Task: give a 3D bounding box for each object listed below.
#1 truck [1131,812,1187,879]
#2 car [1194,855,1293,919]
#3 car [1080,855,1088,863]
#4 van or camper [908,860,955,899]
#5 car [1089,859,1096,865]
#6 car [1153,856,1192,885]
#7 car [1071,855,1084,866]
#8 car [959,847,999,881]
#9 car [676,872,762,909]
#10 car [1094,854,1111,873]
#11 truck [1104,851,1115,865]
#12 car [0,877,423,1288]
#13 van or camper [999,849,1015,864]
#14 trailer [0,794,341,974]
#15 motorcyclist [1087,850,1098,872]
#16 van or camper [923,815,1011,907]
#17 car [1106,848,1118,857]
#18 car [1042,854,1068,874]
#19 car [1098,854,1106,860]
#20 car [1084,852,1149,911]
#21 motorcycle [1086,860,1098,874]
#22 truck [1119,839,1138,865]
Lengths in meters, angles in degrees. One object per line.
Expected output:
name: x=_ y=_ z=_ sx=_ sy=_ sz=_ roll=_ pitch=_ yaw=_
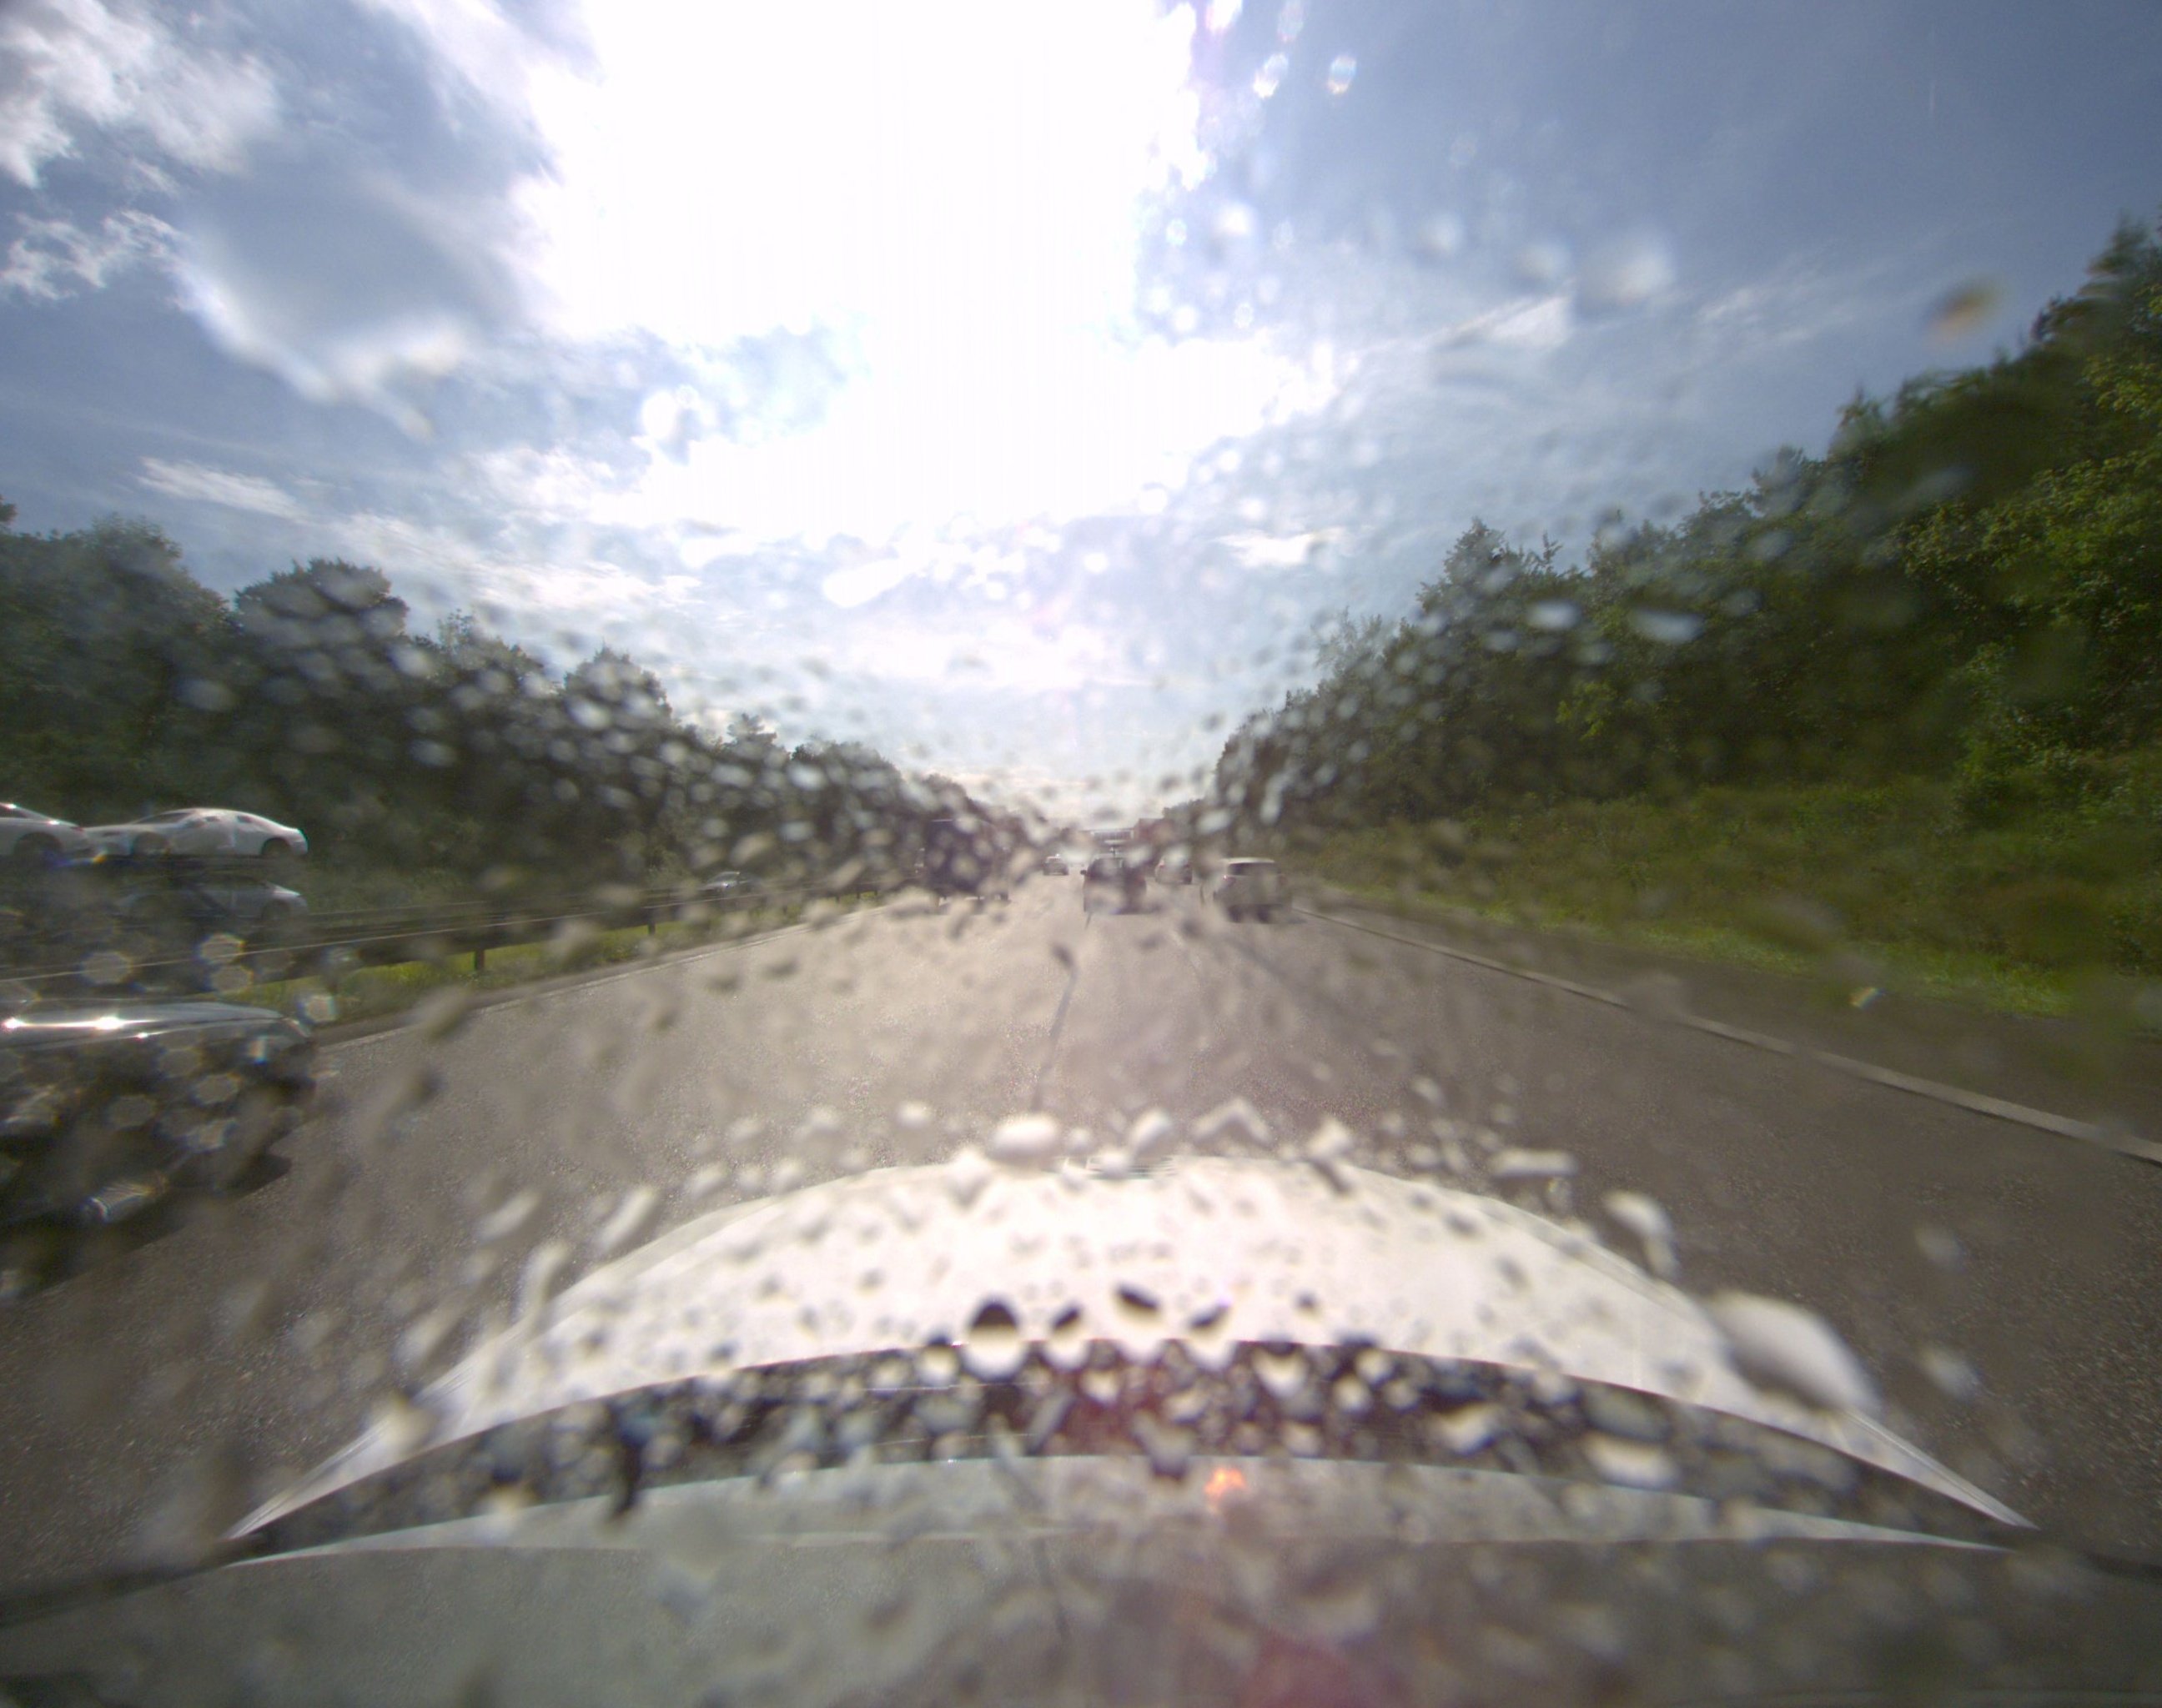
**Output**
truck: x=6.095 y=-0.556 z=66.648 sx=3.635 sy=4.720 sz=16.789 roll=0 pitch=0 yaw=3
car: x=3.951 y=0.767 z=20.436 sx=1.686 sy=1.425 sz=4.220 roll=0 pitch=0 yaw=1
car: x=0.526 y=0.890 z=139.689 sx=1.455 sy=1.393 sz=3.311 roll=0 pitch=0 yaw=1
van or camper: x=-11.685 y=1.928 z=64.197 sx=2.254 sy=2.870 sz=6.842 roll=0 pitch=0 yaw=2
car: x=2.323 y=1.584 z=163.988 sx=1.544 sy=1.267 sz=3.484 roll=0 pitch=0 yaw=0
car: x=4.857 y=0.862 z=43.616 sx=1.675 sy=1.442 sz=3.905 roll=0 pitch=0 yaw=1
car: x=-0.450 y=0.865 z=112.386 sx=1.745 sy=1.457 sz=3.390 roll=0 pitch=0 yaw=1
car: x=-7.651 y=0.754 z=61.472 sx=2.175 sy=2.452 sz=5.748 roll=0 pitch=0 yaw=1
car: x=-16.292 y=1.618 z=36.937 sx=1.811 sy=1.499 sz=4.529 roll=0 pitch=0 yaw=1
car: x=1.992 y=0.851 z=75.333 sx=1.526 sy=1.746 sz=3.485 roll=0 pitch=0 yaw=1
truck: x=5.880 y=0.818 z=168.438 sx=2.184 sy=2.875 sz=4.850 roll=0 pitch=0 yaw=1
car: x=-4.759 y=0.834 z=2.278 sx=1.787 sy=1.419 sz=4.841 roll=0 pitch=0 yaw=2
van or camper: x=-14.983 y=0.497 z=166.316 sx=2.492 sy=2.921 sz=7.138 roll=0 pitch=0 yaw=1
trailer: x=-24.549 y=0.637 z=15.926 sx=2.978 sy=3.831 sz=17.964 roll=0 pitch=0 yaw=3
motorcyclist: x=0.888 y=0.547 z=63.000 sx=0.799 sy=1.633 sz=1.013 roll=0 pitch=-1 yaw=0
van or camper: x=-3.561 y=0.217 z=26.479 sx=1.987 sy=2.669 sz=5.385 roll=0 pitch=0 yaw=1
car: x=4.519 y=-0.220 z=118.704 sx=1.547 sy=1.383 sz=3.210 roll=0 pitch=0 yaw=1
car: x=-2.057 y=0.786 z=65.267 sx=1.848 sy=1.551 sz=3.485 roll=0 pitch=0 yaw=1
car: x=5.965 y=0.753 z=232.611 sx=1.984 sy=1.701 sz=4.005 roll=-2 pitch=0 yaw=4
car: x=0.977 y=0.738 z=23.516 sx=1.712 sy=1.568 sz=3.485 roll=0 pitch=0 yaw=1
motorcycle: x=0.877 y=0.986 z=63.041 sx=0.887 sy=1.000 sz=2.896 roll=0 pitch=0 yaw=1
truck: x=8.534 y=-0.246 z=146.624 sx=3.243 sy=4.479 sz=12.428 roll=0 pitch=0 yaw=3
